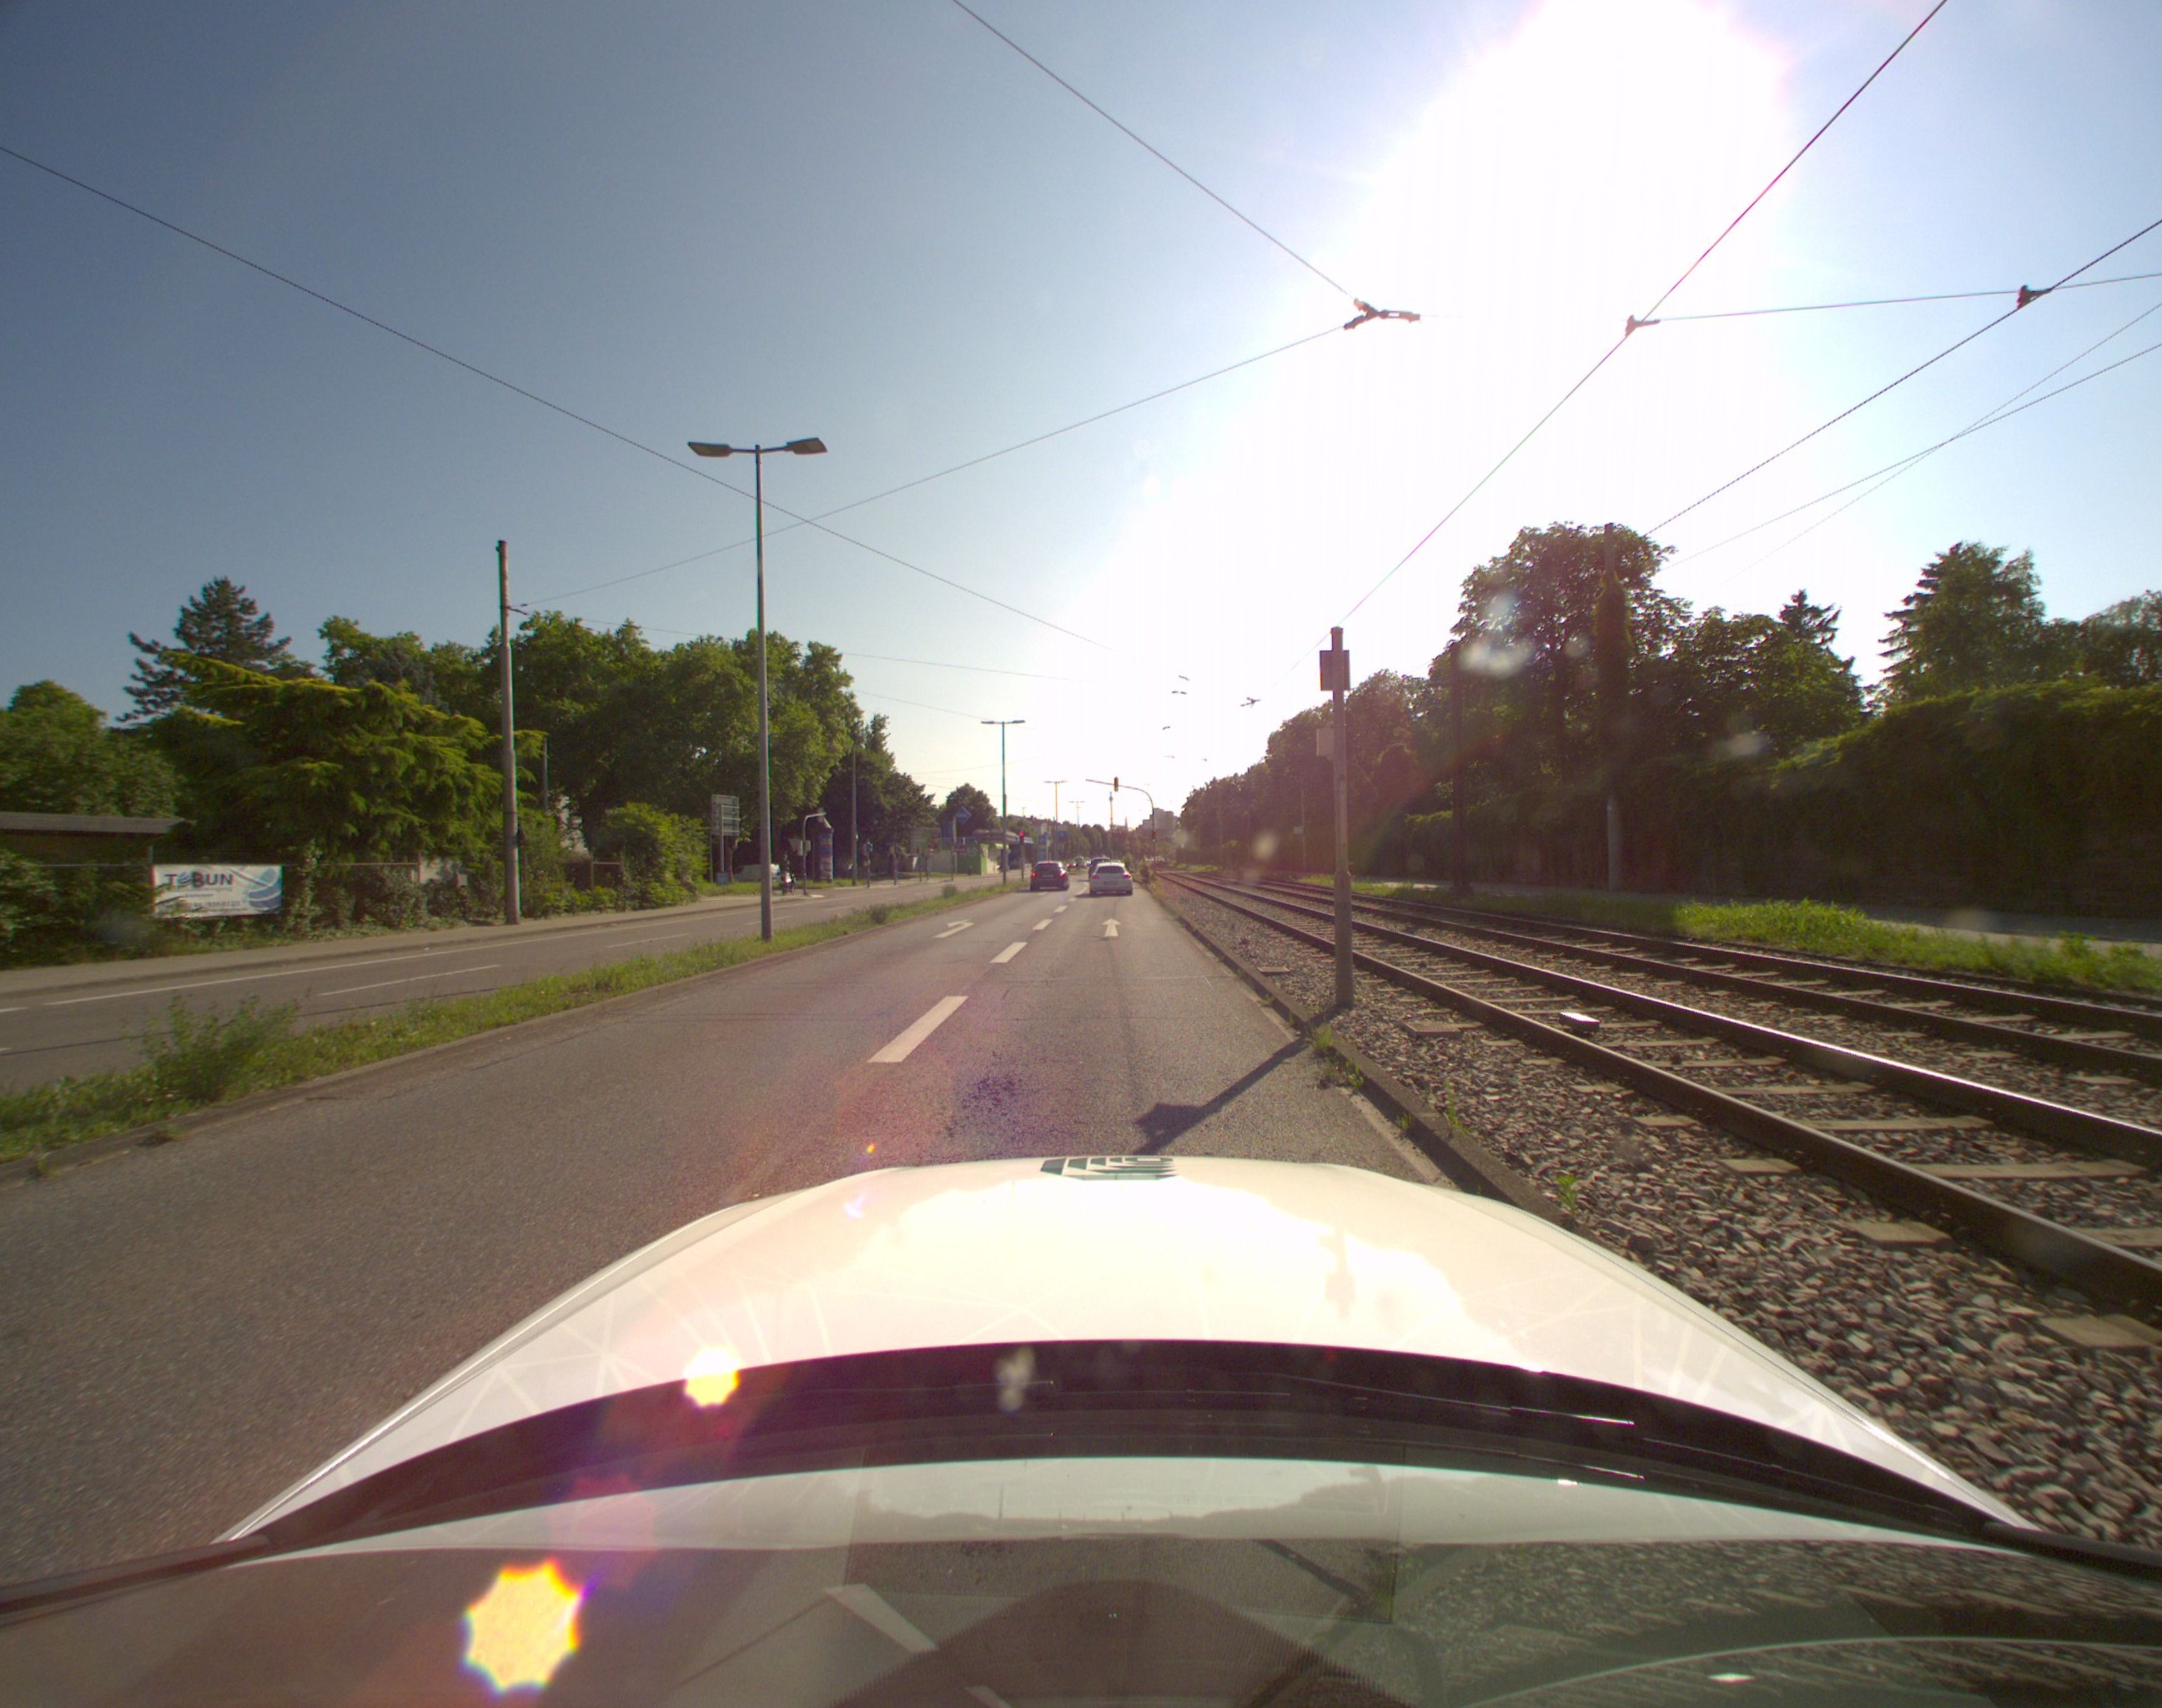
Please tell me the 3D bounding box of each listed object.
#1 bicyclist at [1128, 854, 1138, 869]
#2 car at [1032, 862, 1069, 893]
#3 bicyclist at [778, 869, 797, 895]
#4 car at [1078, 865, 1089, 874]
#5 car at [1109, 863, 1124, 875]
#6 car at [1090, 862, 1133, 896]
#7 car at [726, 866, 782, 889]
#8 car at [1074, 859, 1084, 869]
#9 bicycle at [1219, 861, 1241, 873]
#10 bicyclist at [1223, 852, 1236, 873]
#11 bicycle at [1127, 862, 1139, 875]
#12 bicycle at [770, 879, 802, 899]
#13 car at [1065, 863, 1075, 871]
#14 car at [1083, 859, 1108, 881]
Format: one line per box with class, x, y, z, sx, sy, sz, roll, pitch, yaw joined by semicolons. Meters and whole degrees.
bicyclist;4.888;0.716;76.208;0.638;1.416;1.017;-2;-1;18
car;-1.517;1.169;41.538;1.755;1.486;4.643;0;0;-1
bicyclist;-17.157;1.645;47.609;0.658;1.452;1.052;-2;-1;6
car;0.380;2.638;137.249;1.646;1.395;4.137;-2;-1;3
car;4.576;1.929;103.879;1.740;1.486;3.606;0;-1;5
car;1.315;1.040;35.123;1.774;1.356;3.603;0;0;2
car;-29.569;2.135;73.667;4.362;1.963;1.828;-2;-1;9
car;-0.514;2.436;206.340;1.983;2.376;4.546;-2;-1;6
bicycle;14.729;1.263;80.593;1.903;1.115;0.953;-2;-1;27
bicyclist;14.716;0.833;80.596;1.023;1.993;0.953;-2;-1;27
bicycle;4.867;1.350;76.085;0.638;1.154;1.946;-2;-1;18
bicycle;-17.166;2.019;47.489;0.658;1.049;2.585;-2;-1;6
car;-1.959;2.512;152.513;1.567;1.417;3.337;-2;-1;4
car;1.061;1.175;59.861;1.719;1.593;3.599;0;-1;-1
